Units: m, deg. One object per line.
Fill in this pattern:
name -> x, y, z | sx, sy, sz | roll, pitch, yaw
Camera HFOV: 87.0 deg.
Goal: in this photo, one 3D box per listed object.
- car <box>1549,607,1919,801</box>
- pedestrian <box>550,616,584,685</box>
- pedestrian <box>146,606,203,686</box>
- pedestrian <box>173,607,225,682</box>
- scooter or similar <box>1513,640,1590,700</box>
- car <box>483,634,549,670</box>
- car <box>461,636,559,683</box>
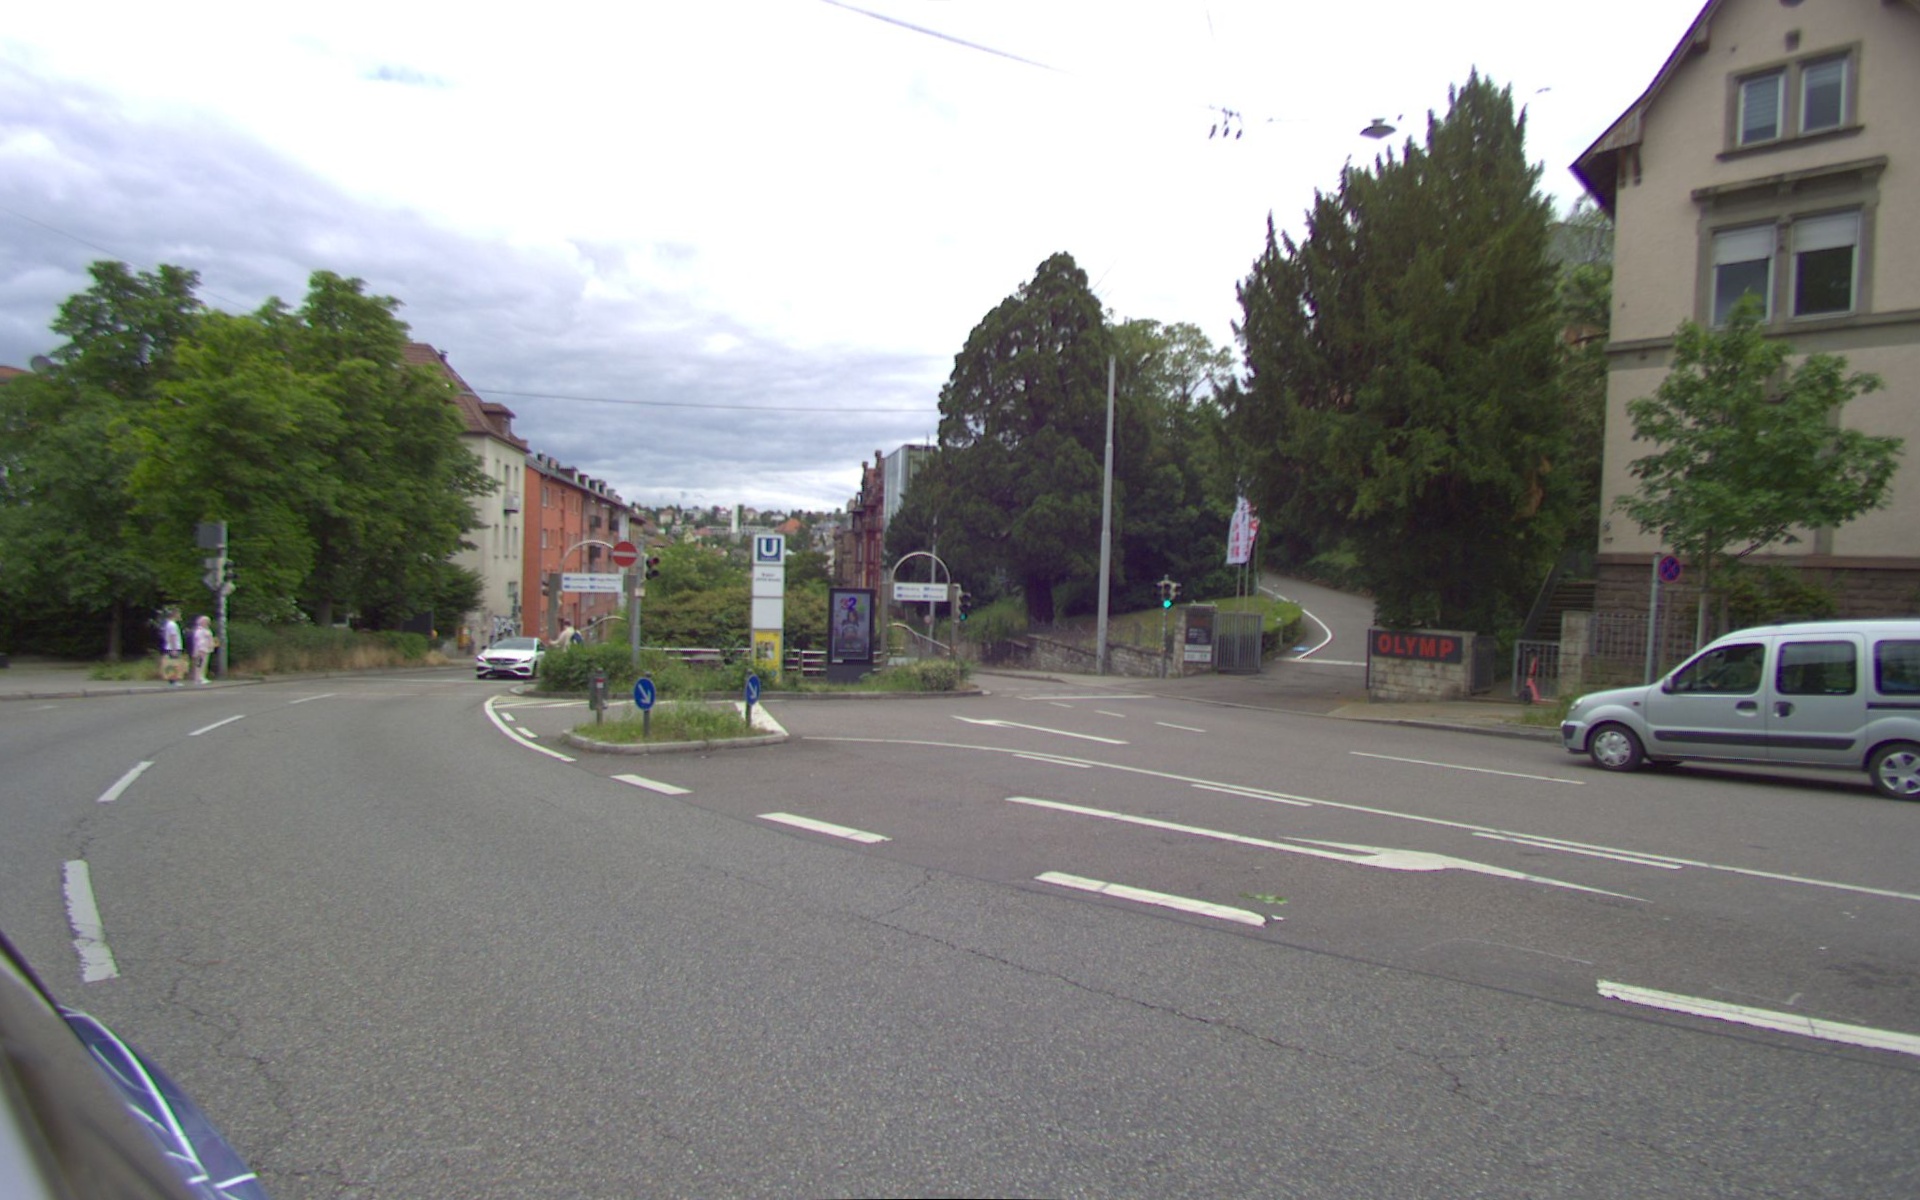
car -> 9.155, 1.024, 11.275 | 1.886, 1.844, 4.048 | 0, -1, -36
pedestrian -> -10.822, 1.382, 27.877 | 0.696, 1.875, 0.615 | 0, -3, -5
pedestrian -> -17.510, 1.014, 22.569 | 0.607, 1.725, 0.728 | 3, -3, -8
pedestrian -> -18.070, 1.046, 24.039 | 0.607, 1.725, 0.728 | 3, -3, -8
scooter or similar -> 11.935, 1.416, 20.459 | 0.543, 1.169, 1.212 | 0, -4, -21
car -> -19.935, 2.288, 45.576 | 1.967, 1.499, 4.240 | -1, -2, -13
car -> -15.097, 1.958, 34.186 | 1.968, 1.409, 4.238 | 3, -3, -10
